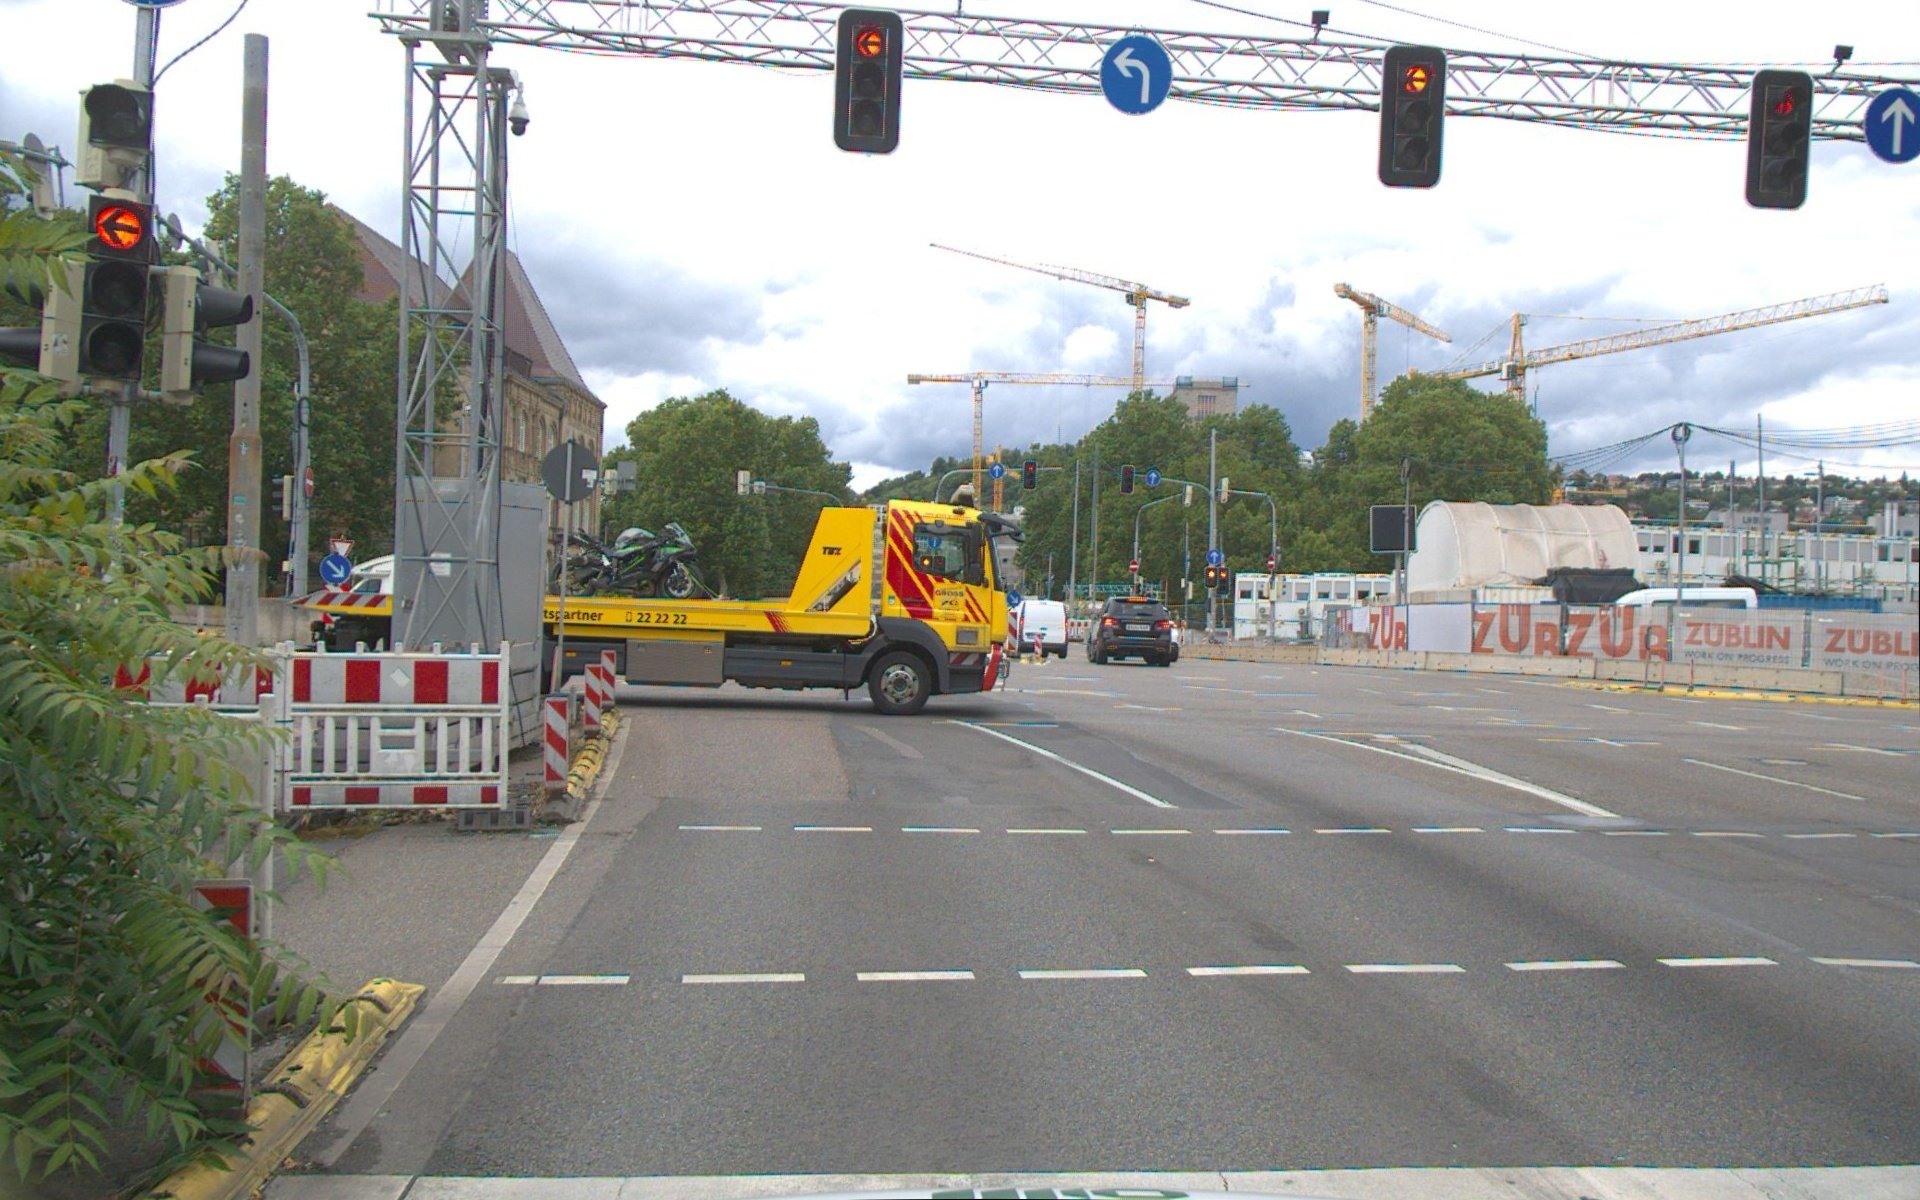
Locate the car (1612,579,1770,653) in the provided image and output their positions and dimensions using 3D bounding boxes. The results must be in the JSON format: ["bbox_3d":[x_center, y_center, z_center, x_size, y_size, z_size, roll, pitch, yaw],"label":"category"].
[{"bbox_3d":[21.061,0.451,47.818,3.902,2.049,2.001,1,0,15],"label":"car"}]

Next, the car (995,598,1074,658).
[{"bbox_3d":[2.404,0.902,54.700,1.828,1.865,4.714,1,0,-7],"label":"car"}]

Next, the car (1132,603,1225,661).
[{"bbox_3d":[7.007,0.995,53.552,1.955,1.790,4.499,1,0,-6],"label":"car"}]

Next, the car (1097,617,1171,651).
[{"bbox_3d":[9.656,1.887,91.890,3.902,1.758,2.002,1,0,11],"label":"car"}]

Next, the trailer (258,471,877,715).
[{"bbox_3d":[-4.695,-0.062,21.086,7.203,2.773,2.860,1,0,-4],"label":"trailer"}]

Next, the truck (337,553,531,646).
[{"bbox_3d":[-19.154,0.022,60.240,6.495,3.201,2.349,1,0,-24],"label":"truck"}]

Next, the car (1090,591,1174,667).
[{"bbox_3d":[4.476,0.746,43.584,1.952,1.866,4.259,1,0,3],"label":"car"}]

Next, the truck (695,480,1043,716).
[{"bbox_3d":[-1.133,-0.011,21.308,4.120,2.773,2.861,1,0,-2],"label":"truck"}]
